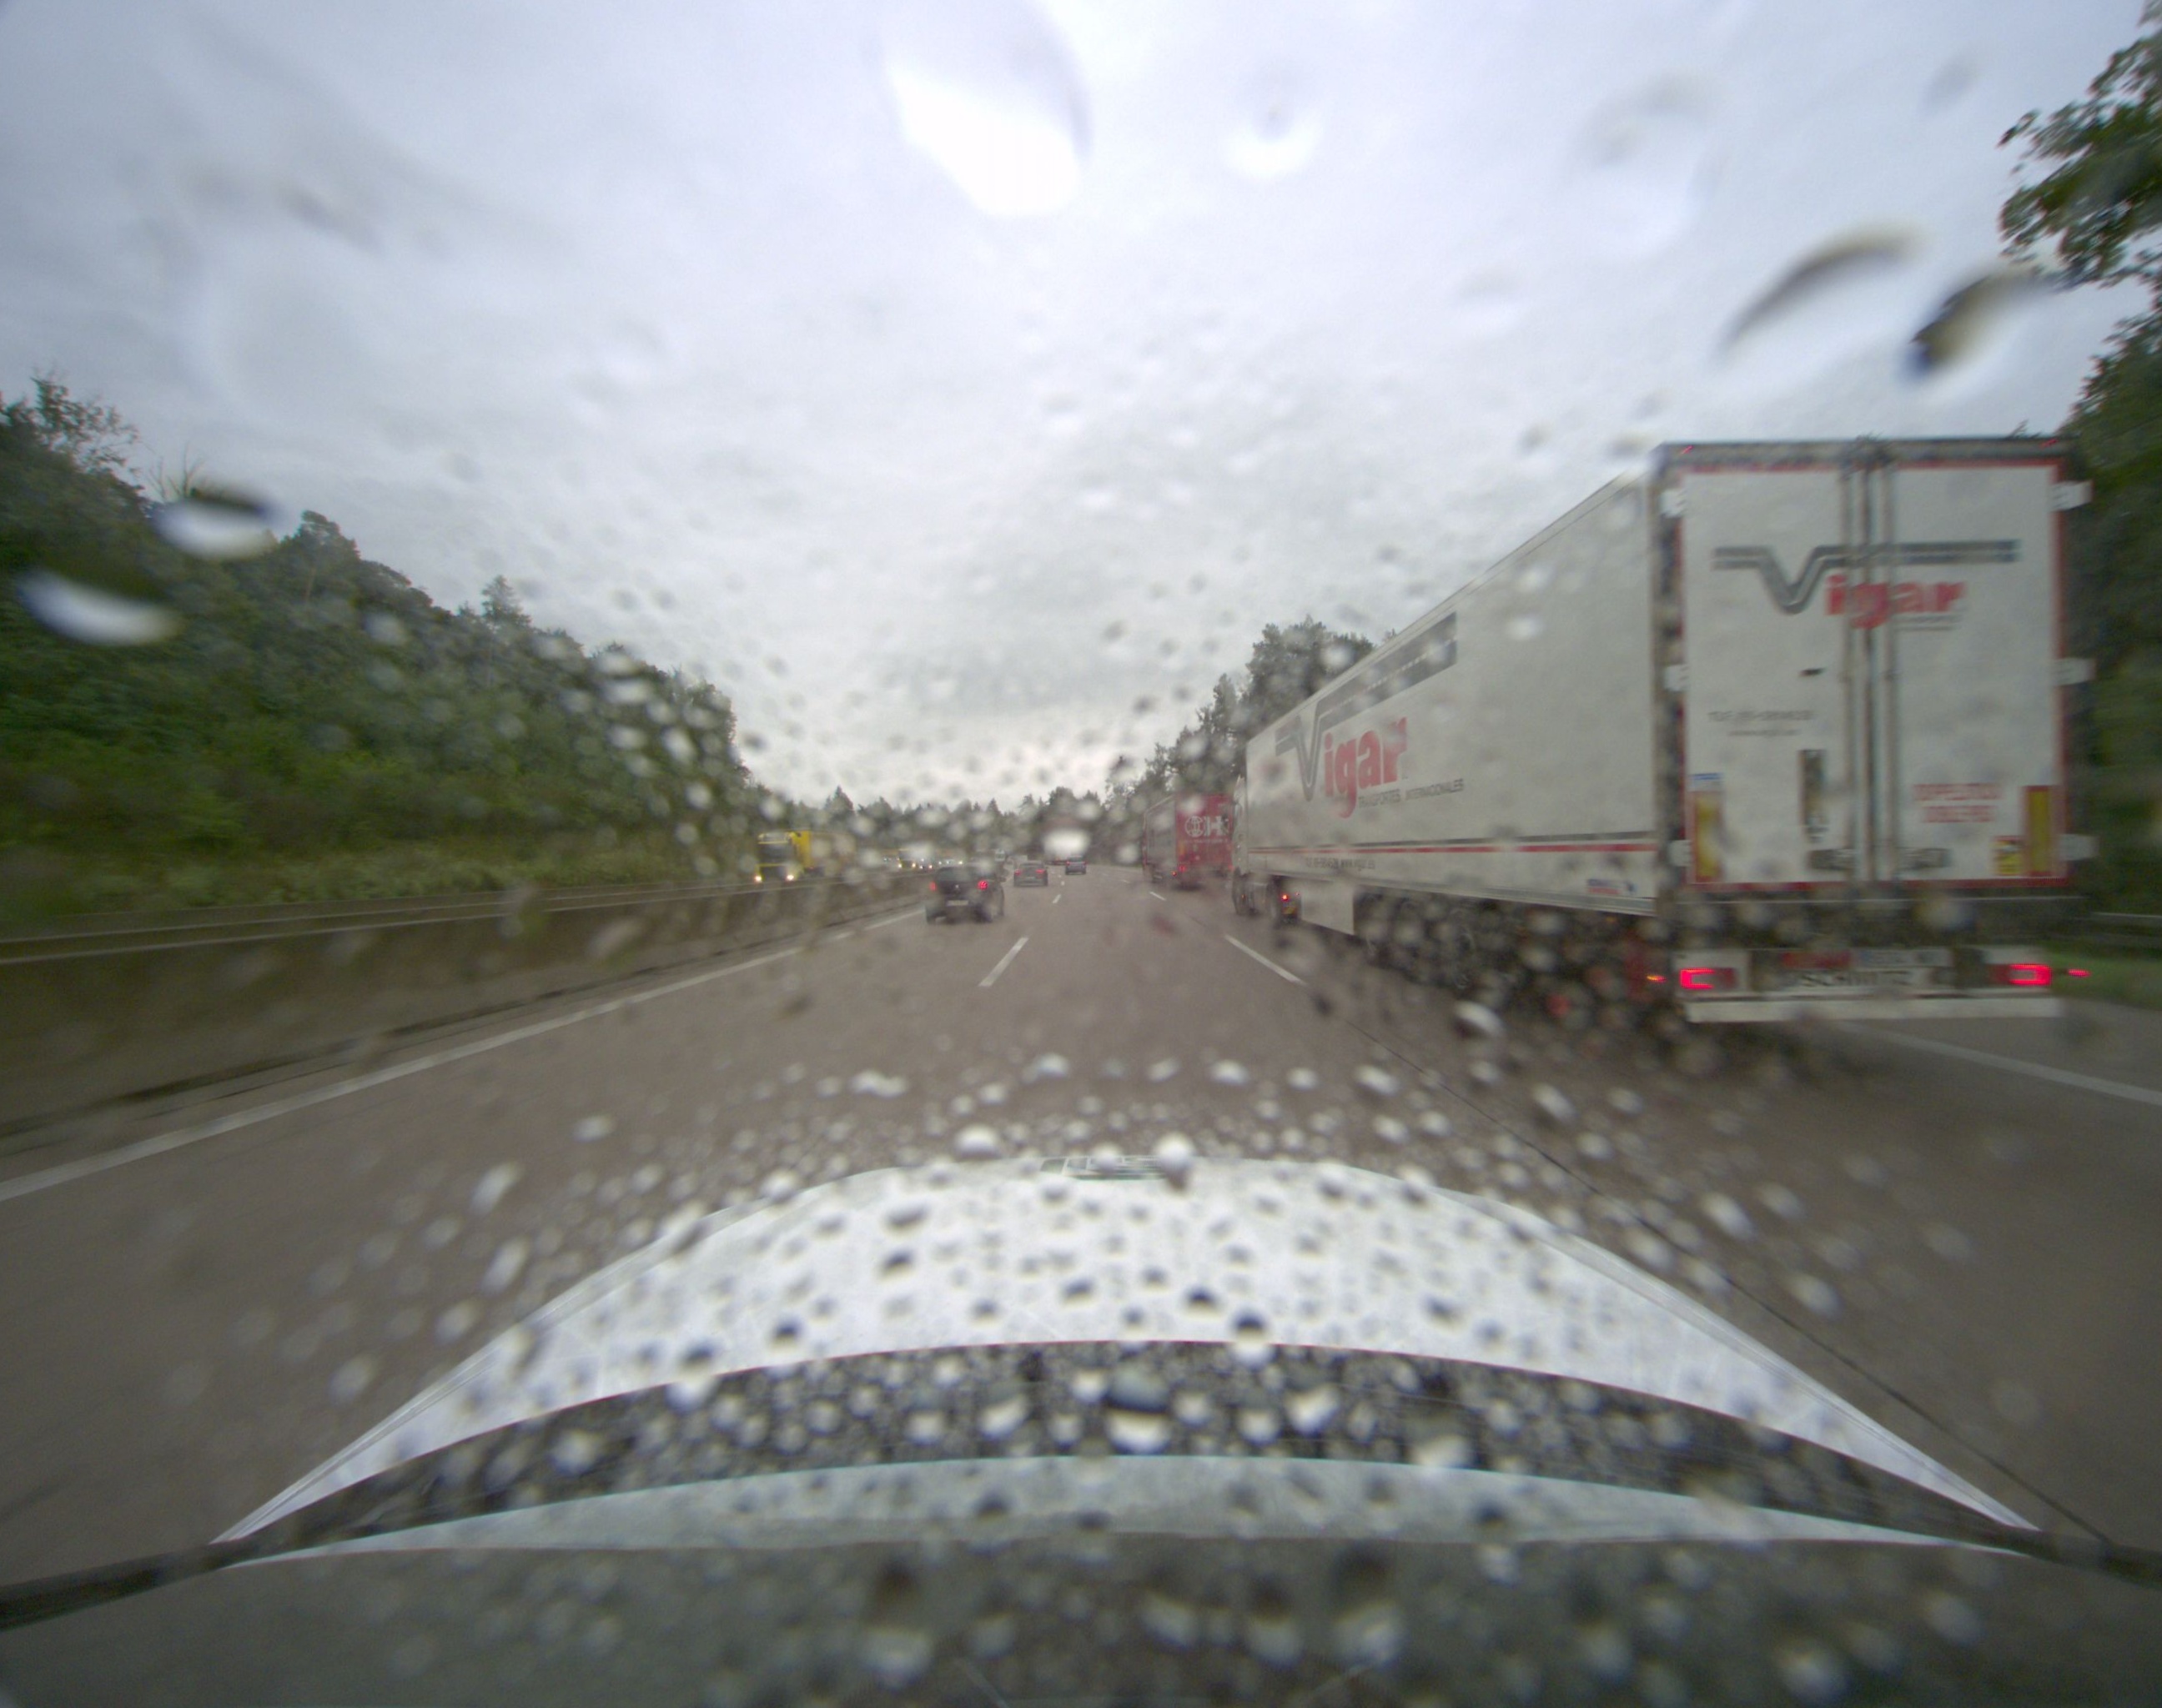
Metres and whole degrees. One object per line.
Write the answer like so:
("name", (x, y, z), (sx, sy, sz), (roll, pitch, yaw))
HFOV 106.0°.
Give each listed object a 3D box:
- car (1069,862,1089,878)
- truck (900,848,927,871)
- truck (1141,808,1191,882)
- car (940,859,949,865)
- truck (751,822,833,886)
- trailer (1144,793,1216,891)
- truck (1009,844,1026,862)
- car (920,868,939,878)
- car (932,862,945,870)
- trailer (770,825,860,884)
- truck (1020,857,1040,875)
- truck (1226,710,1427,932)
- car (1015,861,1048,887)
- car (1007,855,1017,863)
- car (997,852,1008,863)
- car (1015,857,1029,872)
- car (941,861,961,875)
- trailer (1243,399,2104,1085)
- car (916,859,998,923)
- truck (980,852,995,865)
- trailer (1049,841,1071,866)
("car", (-0.128, 1.366, 71.545), (1.547, 1.351, 3.686), (1, 0, 3))
("truck", (-25.336, 0.800, 123.319), (2.617, 3.296, 9.368), (-2, 0, -4))
("truck", (4.816, -0.459, 46.864), (2.366, 3.954, 6.162), (-1, 0, 2))
("car", (-29.672, 1.701, 177.483), (1.656, 1.346, 4.066), (-1, 0, -14))
("truck", (-19.102, 0.015, 54.415), (3.020, 3.875, 8.105), (-1, 0, -4))
("trailer", (4.526, -0.473, 39.578), (2.361, 3.954, 12.526), (-1, 0, 2))
("truck", (-15.149, -0.287, 193.292), (3.367, 4.131, 10.409), (-1, 0, -8))
("car", (-18.993, 2.346, 102.269), (1.649, 1.198, 4.541), (-1, 0, -2))
("car", (-24.953, 2.143, 142.814), (1.802, 1.346, 4.756), (-1, 0, -6))
("trailer", (-19.510, 0.055, 60.907), (3.008, 3.874, 13.682), (-1, 0, -4))
("truck", (-9.239, 2.164, 147.360), (2.272, 2.886, 7.869), (-1, 1, -13))
("truck", (5.136, -0.614, 18.284), (2.788, 4.103, 5.969), (-1, 0, 1))
("car", (-2.689, 1.082, 44.908), (1.549, 1.351, 3.682), (1, 0, 0))
("car", (-14.178, 1.008, 166.985), (1.878, 1.473, 3.995), (1, 0, -3))
("car", (-15.304, 0.680, 158.674), (1.989, 2.059, 3.996), (-2, 0, -2))
("car", (-8.272, 1.401, 114.015), (1.725, 2.013, 3.646), (-2, 0, -8))
("car", (-14.690, 1.529, 92.257), (1.649, 1.479, 4.542), (-1, 0, -2))
("trailer", (4.943, -0.669, 11.781), (2.724, 4.103, 13.686), (-1, 0, 1))
("car", (-3.112, 0.882, 21.050), (1.680, 1.462, 3.680), (1, 0, -2))
("truck", (-23.735, 1.126, 206.671), (3.083, 2.905, 7.875), (-1, 1, -11))
("trailer", (-3.721, -0.107, 140.972), (2.418, 4.068, 12.022), (-1, 0, -8))
